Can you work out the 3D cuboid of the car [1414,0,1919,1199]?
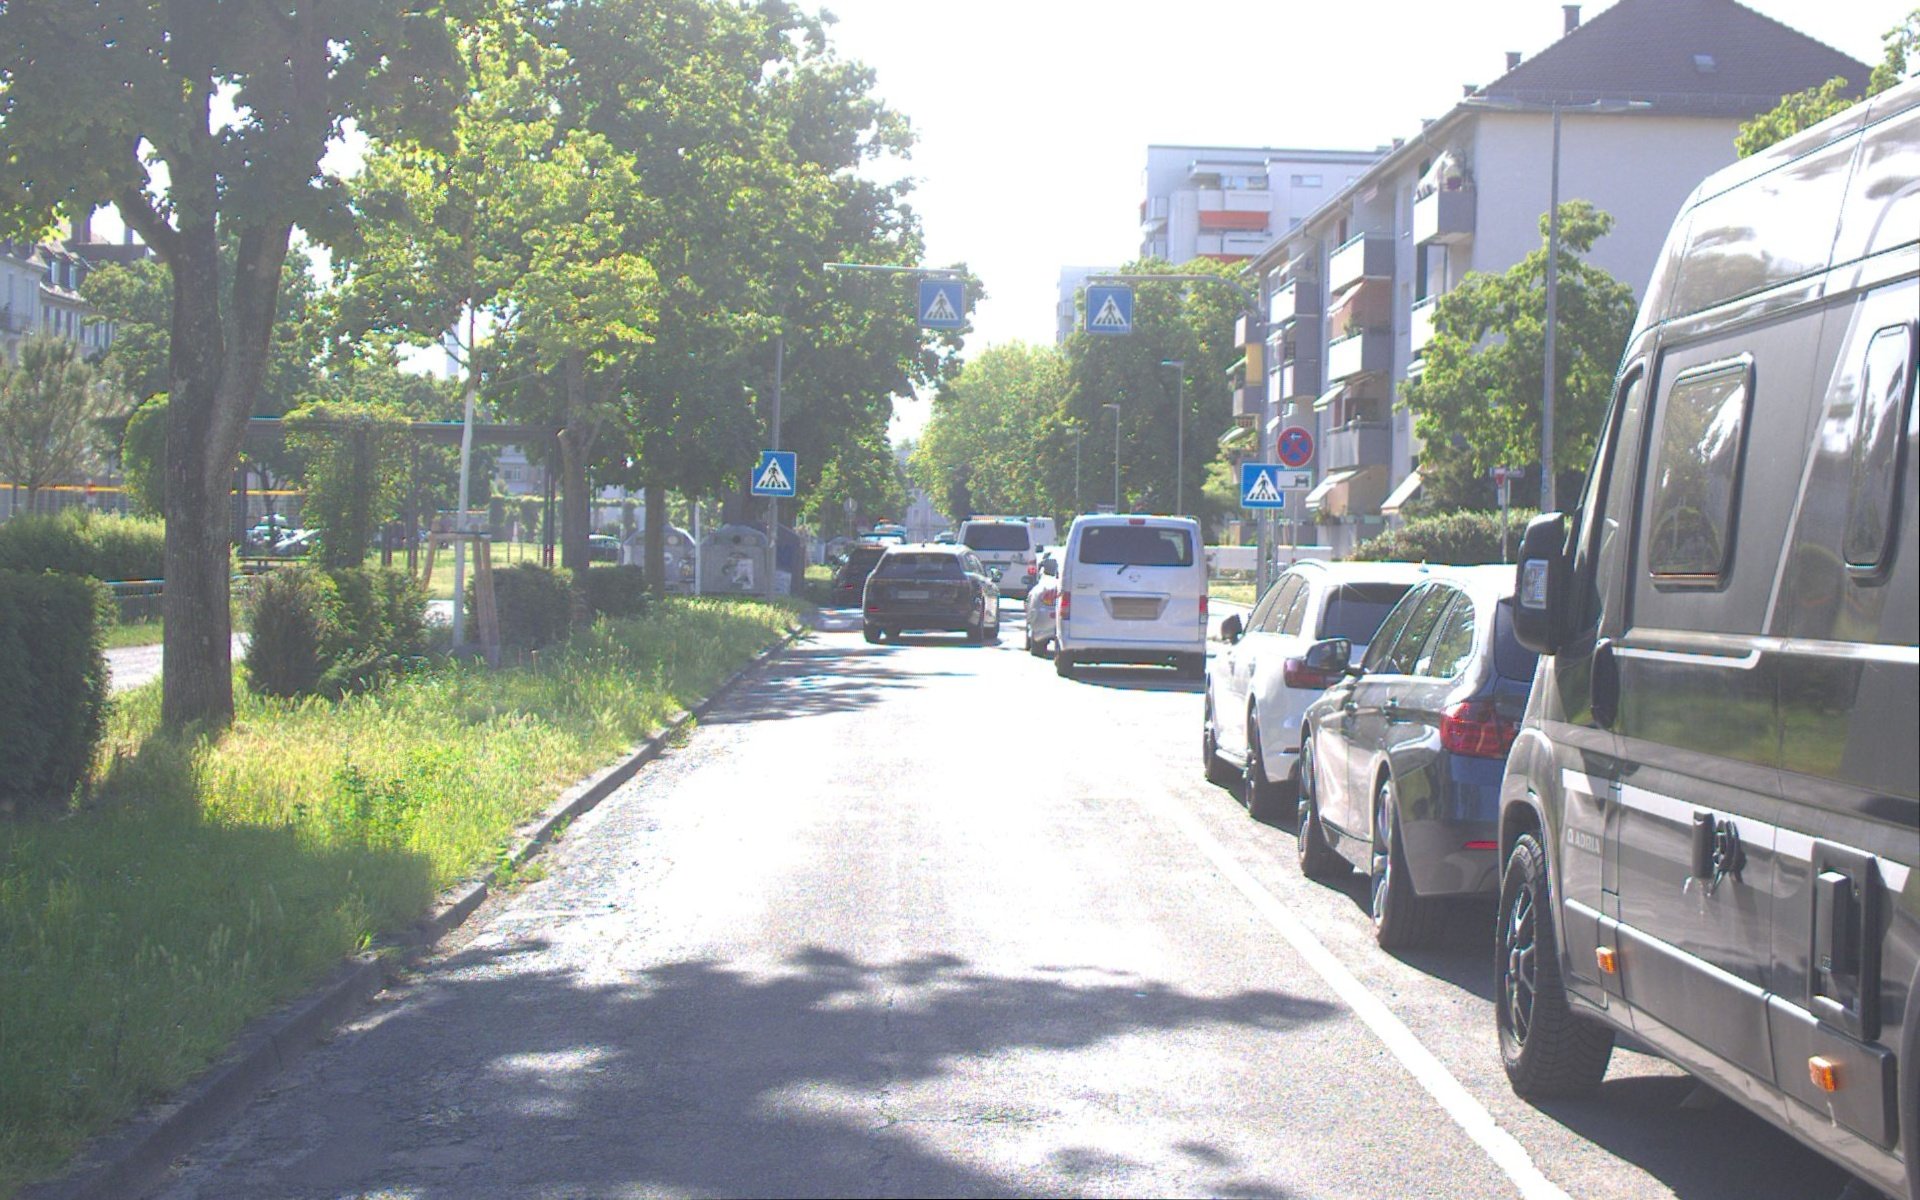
[{"bbox_3d":[2.588,0.169,7.219,2.115,2.507,6.533,1,1,-2],"label":"car"}]

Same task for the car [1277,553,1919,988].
[{"bbox_3d":[2.519,0.548,13.929,1.993,1.415,4.636,1,1,0],"label":"car"}]

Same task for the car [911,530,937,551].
[{"bbox_3d":[-2.547,-4.210,242.914,1.794,1.505,4.000,1,1,0],"label":"car"}]

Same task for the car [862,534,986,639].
[{"bbox_3d":[-0.544,-0.238,52.624,1.794,1.505,4.000,2,1,0],"label":"car"}]

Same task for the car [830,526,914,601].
[{"bbox_3d":[-1.969,-0.845,78.156,1.794,1.619,4.000,2,1,0],"label":"car"}]

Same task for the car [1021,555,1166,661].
[{"bbox_3d":[1.784,0.091,47.087,1.764,1.314,4.168,2,0,0],"label":"car"}]

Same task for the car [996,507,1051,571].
[{"bbox_3d":[2.544,-2.471,138.786,1.993,2.422,4.500,3,1,0],"label":"car"}]

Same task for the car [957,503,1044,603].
[{"bbox_3d":[0.878,-1.066,76.482,1.794,2.115,4.000,2,1,0],"label":"car"}]

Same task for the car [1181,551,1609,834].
[{"bbox_3d":[2.414,0.451,20.211,1.794,1.415,4.658,1,1,-1],"label":"car"}]

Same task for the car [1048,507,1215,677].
[{"bbox_3d":[1.971,-0.141,40.613,1.794,1.848,4.413,2,1,1],"label":"car"}]
